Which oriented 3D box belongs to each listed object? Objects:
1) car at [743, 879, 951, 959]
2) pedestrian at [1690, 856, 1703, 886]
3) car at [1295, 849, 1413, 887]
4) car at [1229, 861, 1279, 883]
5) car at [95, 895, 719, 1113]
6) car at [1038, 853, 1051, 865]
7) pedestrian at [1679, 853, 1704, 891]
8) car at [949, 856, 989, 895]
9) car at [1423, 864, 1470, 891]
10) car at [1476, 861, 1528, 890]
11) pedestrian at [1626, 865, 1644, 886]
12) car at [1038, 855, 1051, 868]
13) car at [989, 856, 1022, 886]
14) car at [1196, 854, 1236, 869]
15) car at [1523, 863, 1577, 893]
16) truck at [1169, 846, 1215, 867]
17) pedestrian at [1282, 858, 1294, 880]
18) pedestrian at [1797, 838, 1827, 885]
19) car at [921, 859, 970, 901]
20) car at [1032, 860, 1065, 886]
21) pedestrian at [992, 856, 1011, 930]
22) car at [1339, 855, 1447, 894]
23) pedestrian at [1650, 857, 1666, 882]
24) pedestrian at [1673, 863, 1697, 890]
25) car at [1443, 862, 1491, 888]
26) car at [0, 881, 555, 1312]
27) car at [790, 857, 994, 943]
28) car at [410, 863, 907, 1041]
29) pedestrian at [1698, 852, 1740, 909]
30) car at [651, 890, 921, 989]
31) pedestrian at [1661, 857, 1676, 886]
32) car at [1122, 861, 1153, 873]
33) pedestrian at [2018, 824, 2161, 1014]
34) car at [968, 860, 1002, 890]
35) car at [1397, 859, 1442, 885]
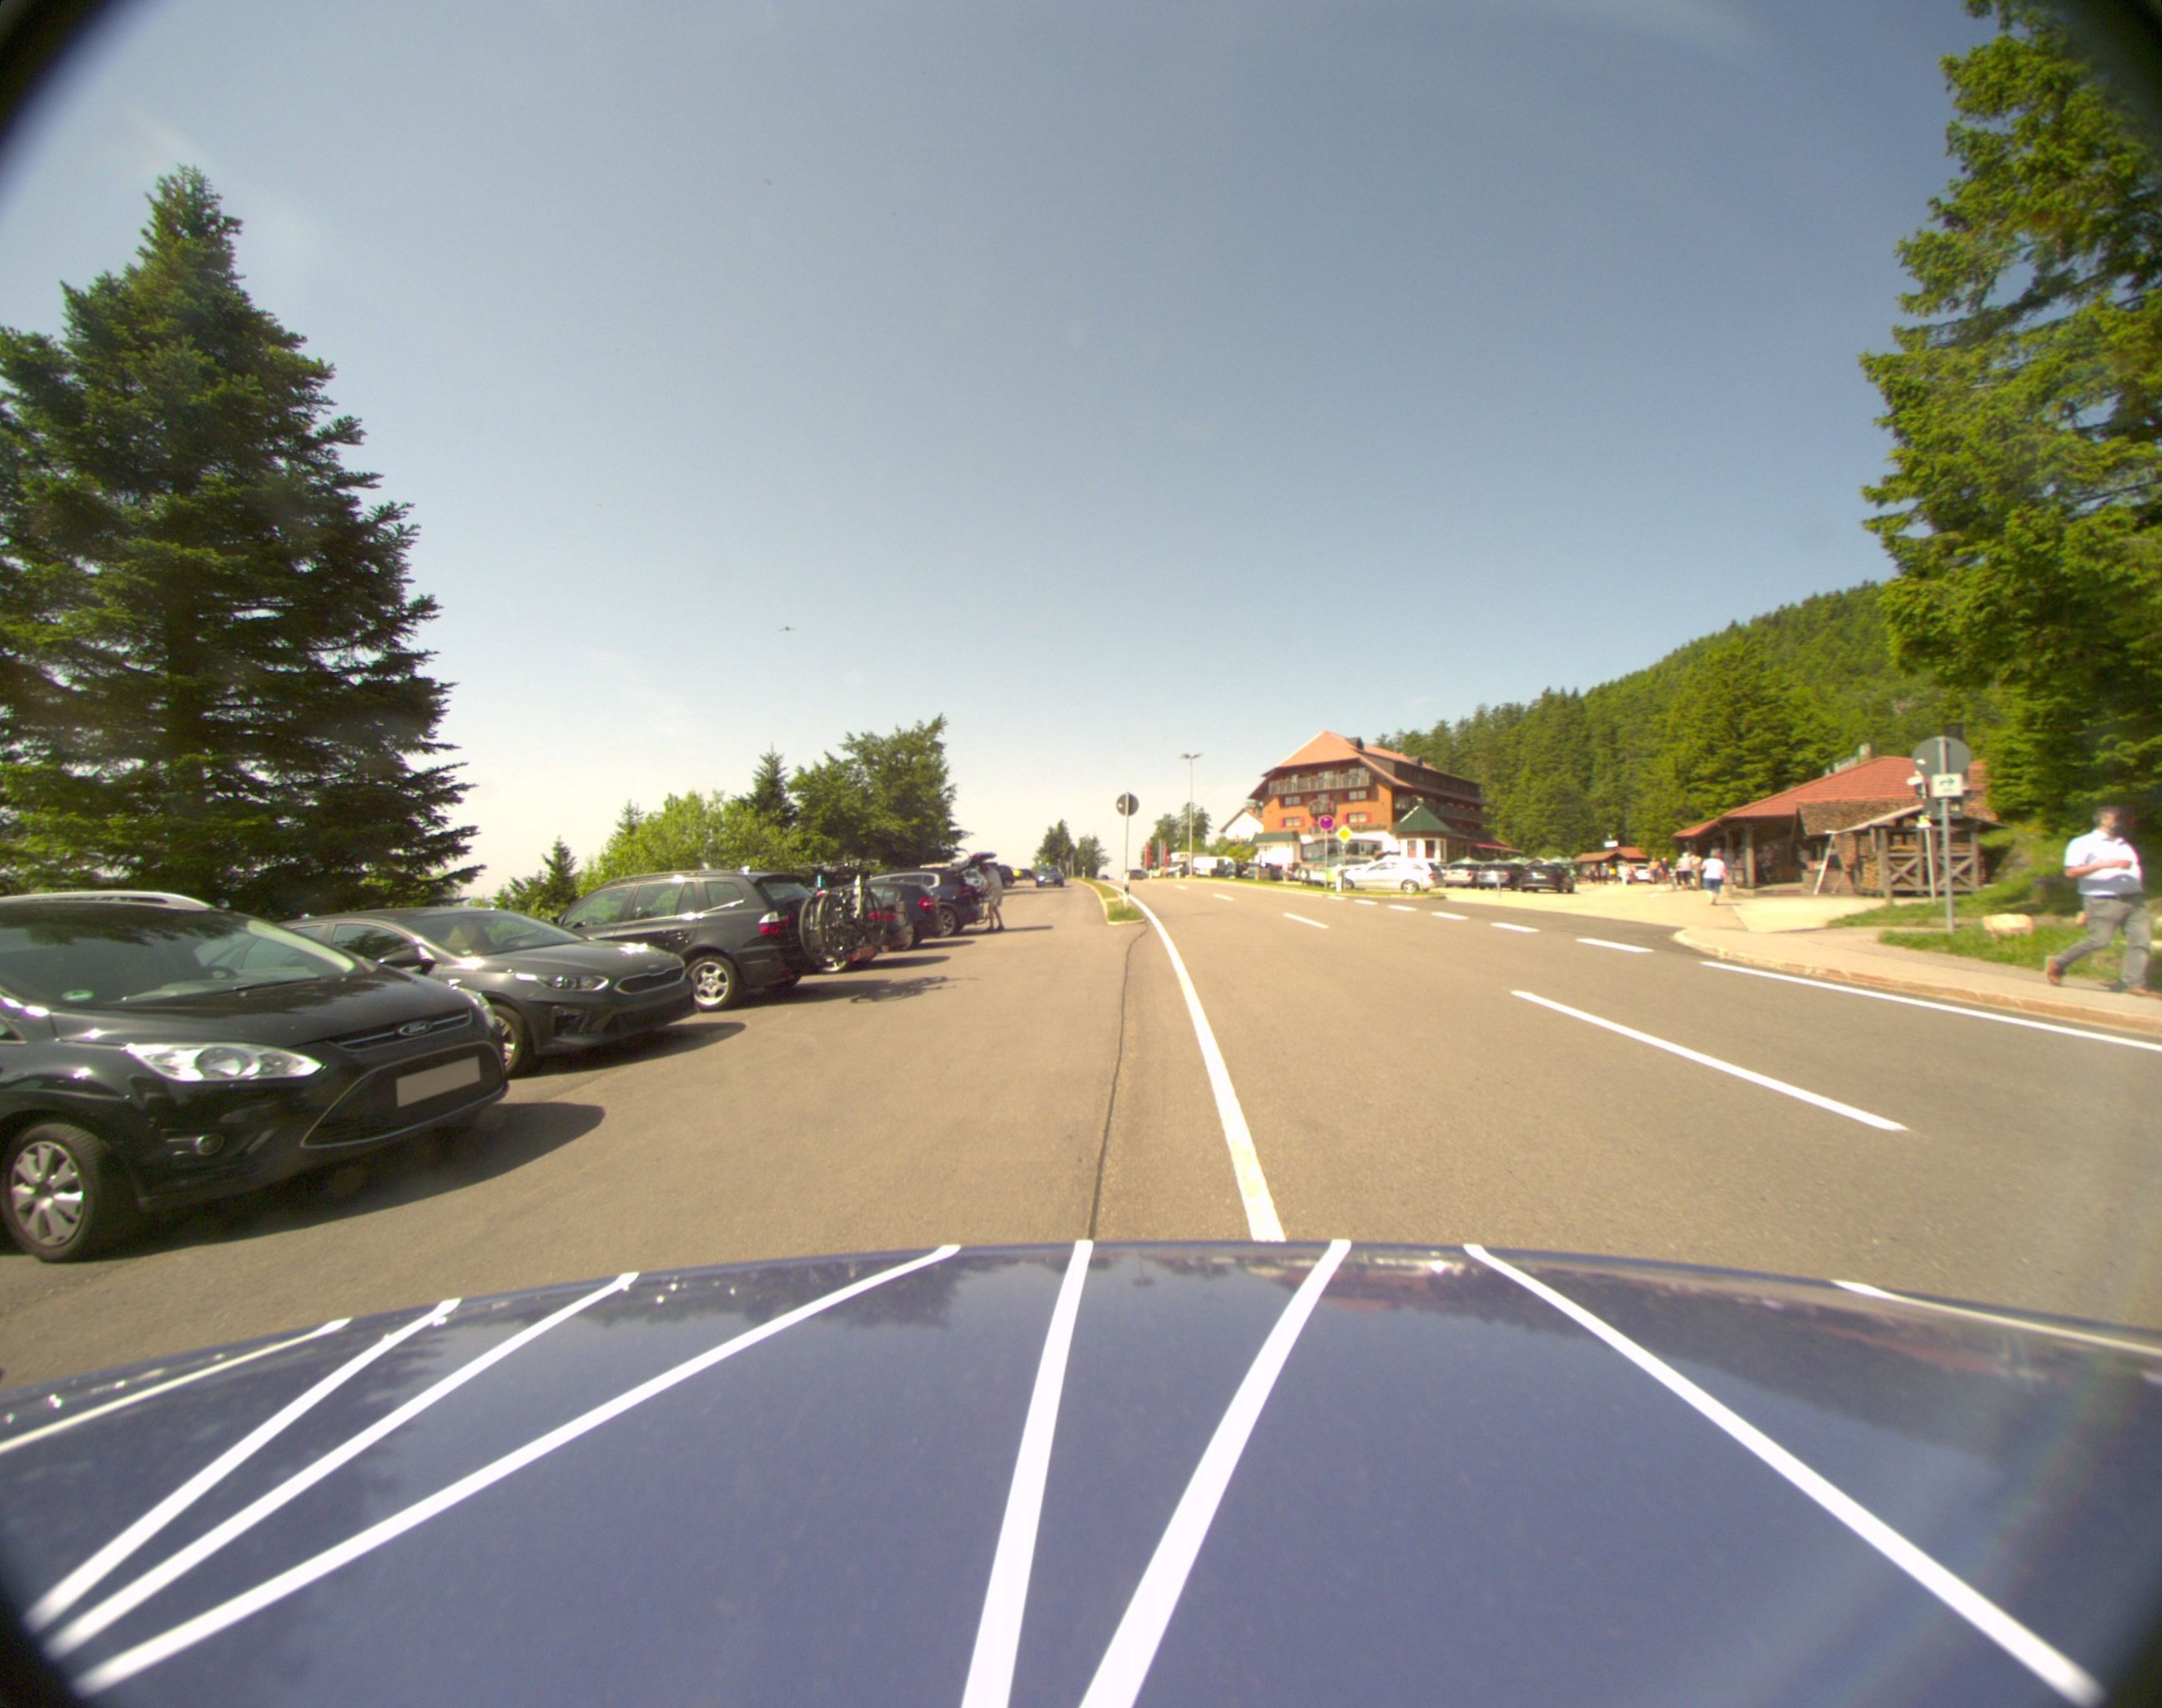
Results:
[{"bbox_3d":[-4.650,1.273,15.514,3.684,1.343,1.738,-2,0,-3],"label":"car"},{"bbox_3d":[33.720,0.942,41.618,0.521,1.613,0.538,-1,0,39],"label":"pedestrian"},{"bbox_3d":[14.036,0.717,39.167,5.349,1.858,2.004,-1,0,35],"label":"car"},{"bbox_3d":[13.303,1.398,58.504,1.719,1.583,3.325,-1,0,-43],"label":"car"},{"bbox_3d":[-5.837,1.270,6.848,4.322,1.423,1.690,-4,0,7],"label":"car"},{"bbox_3d":[-6.187,0.879,129.797,1.952,1.970,4.068,-1,0,-6],"label":"car"},{"bbox_3d":[27.351,0.789,34.052,0.770,1.657,0.891,-1,0,33],"label":"pedestrian"},{"bbox_3d":[-6.272,1.147,42.859,2.000,2.002,3.997,-2,0,-6],"label":"car"},{"bbox_3d":[22.327,1.412,46.387,1.727,1.457,3.528,-2,1,40],"label":"car"},{"bbox_3d":[22.096,1.110,39.837,1.714,1.425,3.323,-1,-1,41],"label":"car"},{"bbox_3d":[40.032,1.559,54.934,0.985,1.487,0.891,-1,0,32],"label":"pedestrian"},{"bbox_3d":[-5.969,1.245,124.810,1.999,2.002,3.998,-2,0,-4],"label":"car"},{"bbox_3d":[-5.488,1.180,54.738,2.000,2.002,3.996,-2,0,-10],"label":"car"},{"bbox_3d":[18.528,1.022,104.580,5.248,1.894,2.001,-1,0,8],"label":"car"},{"bbox_3d":[22.874,1.123,37.024,1.708,1.387,3.323,-1,-1,41],"label":"car"},{"bbox_3d":[16.367,0.368,111.739,2.862,2.813,8.778,-2,0,37],"label":"truck"},{"bbox_3d":[16.173,1.169,59.242,0.779,1.689,0.684,-1,0,6],"label":"pedestrian"},{"bbox_3d":[31.445,0.320,32.699,0.894,2.002,0.789,-1,1,42],"label":"pedestrian"},{"bbox_3d":[-6.385,1.176,36.139,1.867,1.830,3.881,-2,0,-4],"label":"car"},{"bbox_3d":[-2.132,1.201,50.233,1.999,1.537,3.999,-2,0,-2],"label":"car"},{"bbox_3d":[-1.976,0.954,18.895,0.367,1.812,0.549,-1,0,3],"label":"pedestrian"},{"bbox_3d":[13.520,0.890,33.050,3.952,1.578,1.794,-1,0,40],"label":"car"},{"bbox_3d":[38.134,1.019,50.226,0.534,1.664,0.681,-1,0,-35],"label":"pedestrian"},{"bbox_3d":[27.680,1.012,34.837,0.770,1.190,0.891,-1,0,33],"label":"pedestrian"},{"bbox_3d":[21.845,1.155,42.946,1.636,1.425,3.323,-1,-1,41],"label":"car"},{"bbox_3d":[-5.605,1.133,4.010,4.428,1.609,1.753,-4,0,4],"label":"car"},{"bbox_3d":[-4.461,1.063,18.434,4.323,1.811,2.001,-2,0,3],"label":"car"},{"bbox_3d":[-5.064,1.145,9.580,5.112,1.610,2.001,-5,0,5],"label":"car"},{"bbox_3d":[19.892,0.820,23.704,0.638,1.731,0.910,-1,0,-42],"label":"pedestrian"},{"bbox_3d":[-4.658,1.344,12.303,3.707,1.261,1.565,-3,-1,3],"label":"car"},{"bbox_3d":[36.490,1.081,47.185,0.469,1.755,0.572,-1,0,-35],"label":"pedestrian"},{"bbox_3d":[7.636,1.732,102.700,4.008,1.402,1.994,-2,1,-44],"label":"car"},{"bbox_3d":[9.720,0.595,7.295,0.580,1.731,0.687,-1,0,1],"label":"pedestrian"},{"bbox_3d":[-6.186,1.315,48.998,2.000,1.733,3.997,-2,0,-7],"label":"car"},{"bbox_3d":[22.010,1.136,49.408,1.710,1.543,3.141,-1,0,43],"label":"car"}]
